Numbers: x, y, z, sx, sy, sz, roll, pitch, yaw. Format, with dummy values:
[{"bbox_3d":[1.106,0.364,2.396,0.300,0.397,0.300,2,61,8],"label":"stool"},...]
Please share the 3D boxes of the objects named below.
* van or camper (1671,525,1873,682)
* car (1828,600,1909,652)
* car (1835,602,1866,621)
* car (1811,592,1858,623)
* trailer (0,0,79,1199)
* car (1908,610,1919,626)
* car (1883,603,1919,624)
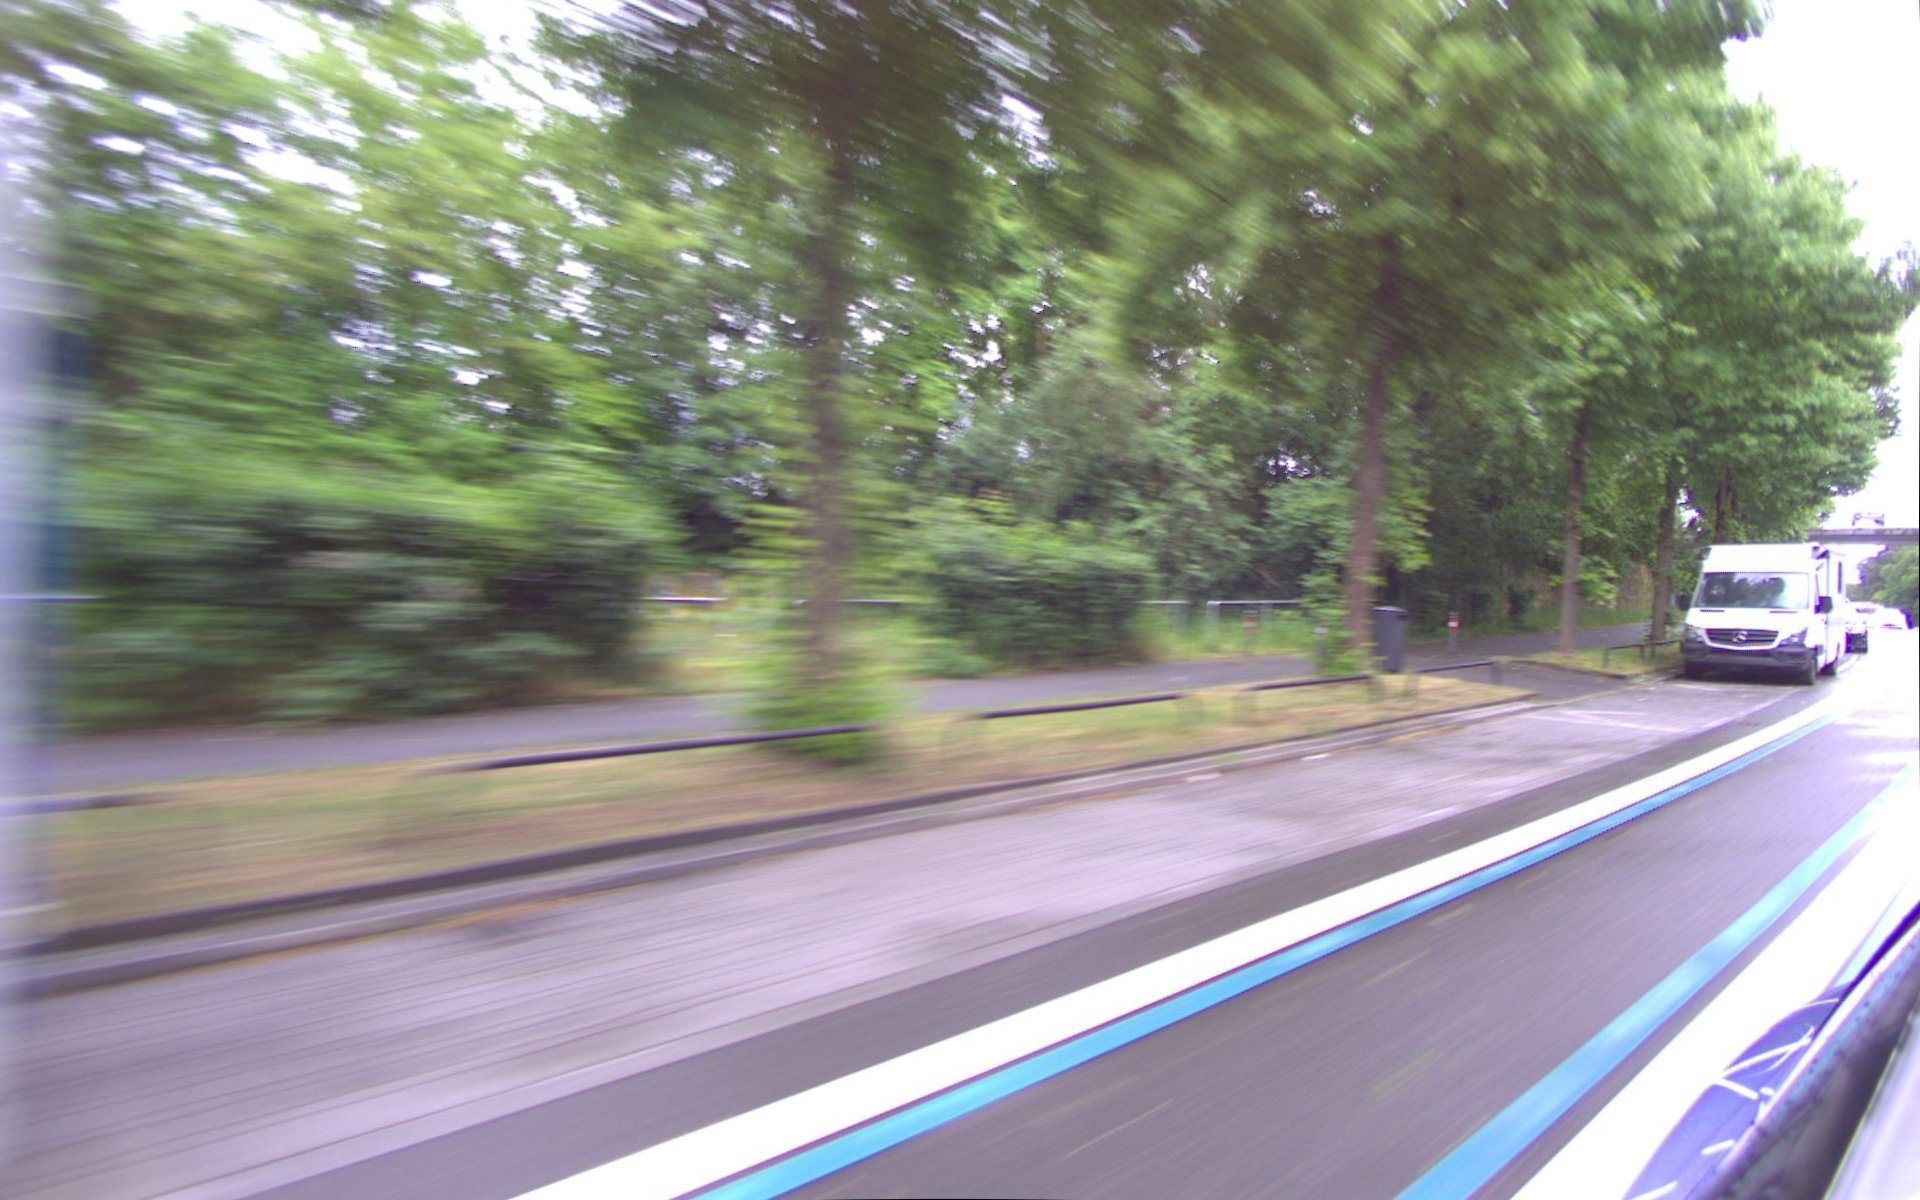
[{"bbox_3d":[16.511,0.055,20.414,6.274,2.698,2.319,0,0,-43],"label":"van or camper"},{"bbox_3d":[27.457,0.739,30.675,1.676,1.393,3.943,1,2,40],"label":"car"},{"bbox_3d":[74.615,0.999,84.801,1.719,1.416,4.525,1,-1,39],"label":"car"},{"bbox_3d":[47.682,0.392,55.244,1.710,1.639,4.202,1,1,38],"label":"car"},{"bbox_3d":[-4.604,0.063,1.199,5.281,2.706,2.320,0,0,-40],"label":"trailer"},{"bbox_3d":[97.478,1.844,102.535,1.794,1.596,4.042,1,1,40],"label":"car"},{"bbox_3d":[71.556,1.051,76.913,1.821,1.481,3.825,0,-2,39],"label":"car"}]
